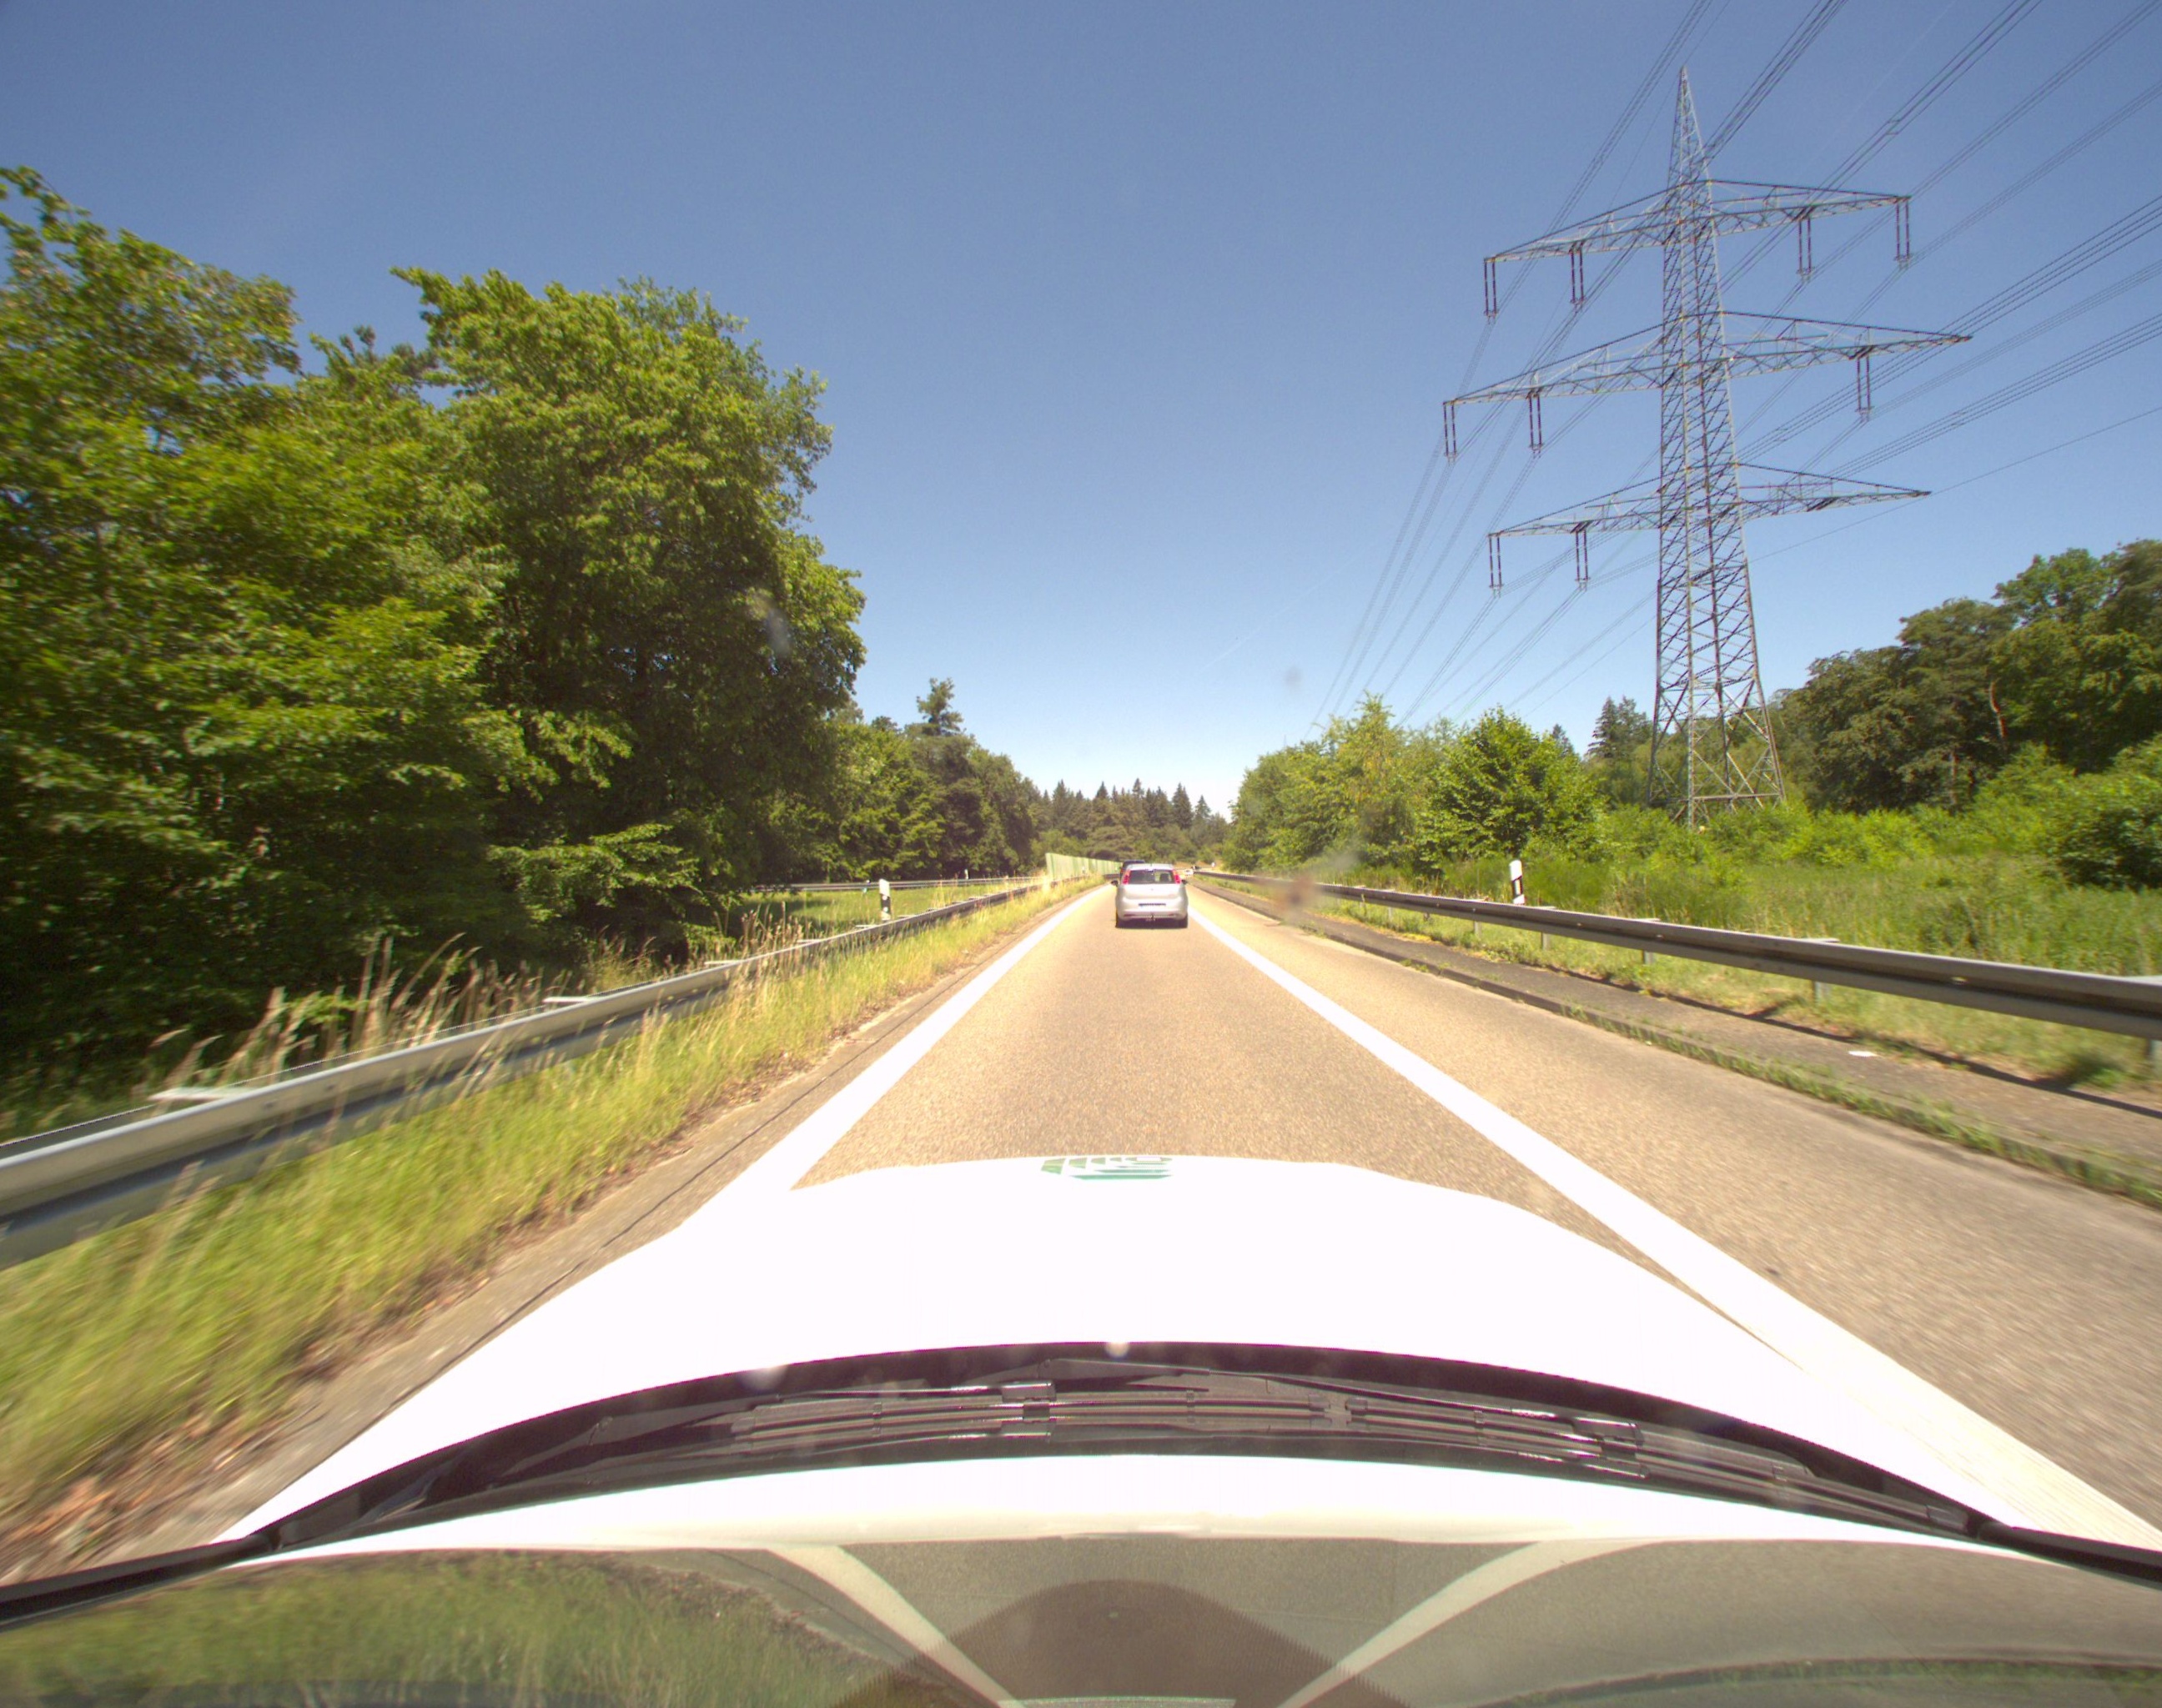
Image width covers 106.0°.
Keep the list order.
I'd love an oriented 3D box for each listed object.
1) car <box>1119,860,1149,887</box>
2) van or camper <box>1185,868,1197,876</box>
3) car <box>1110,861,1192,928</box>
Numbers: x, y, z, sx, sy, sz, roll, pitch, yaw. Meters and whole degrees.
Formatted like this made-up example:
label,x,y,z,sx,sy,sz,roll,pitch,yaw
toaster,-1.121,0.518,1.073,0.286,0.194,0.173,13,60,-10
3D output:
label,x,y,z,sx,sy,sz,roll,pitch,yaw
car,3.381,1.233,52.427,1.701,1.676,3.397,-1,-1,0
van or camper,23.298,3.757,172.416,1.793,1.486,4.017,-1,-1,16
car,1.610,0.921,19.783,1.701,1.482,3.397,-1,-1,0
